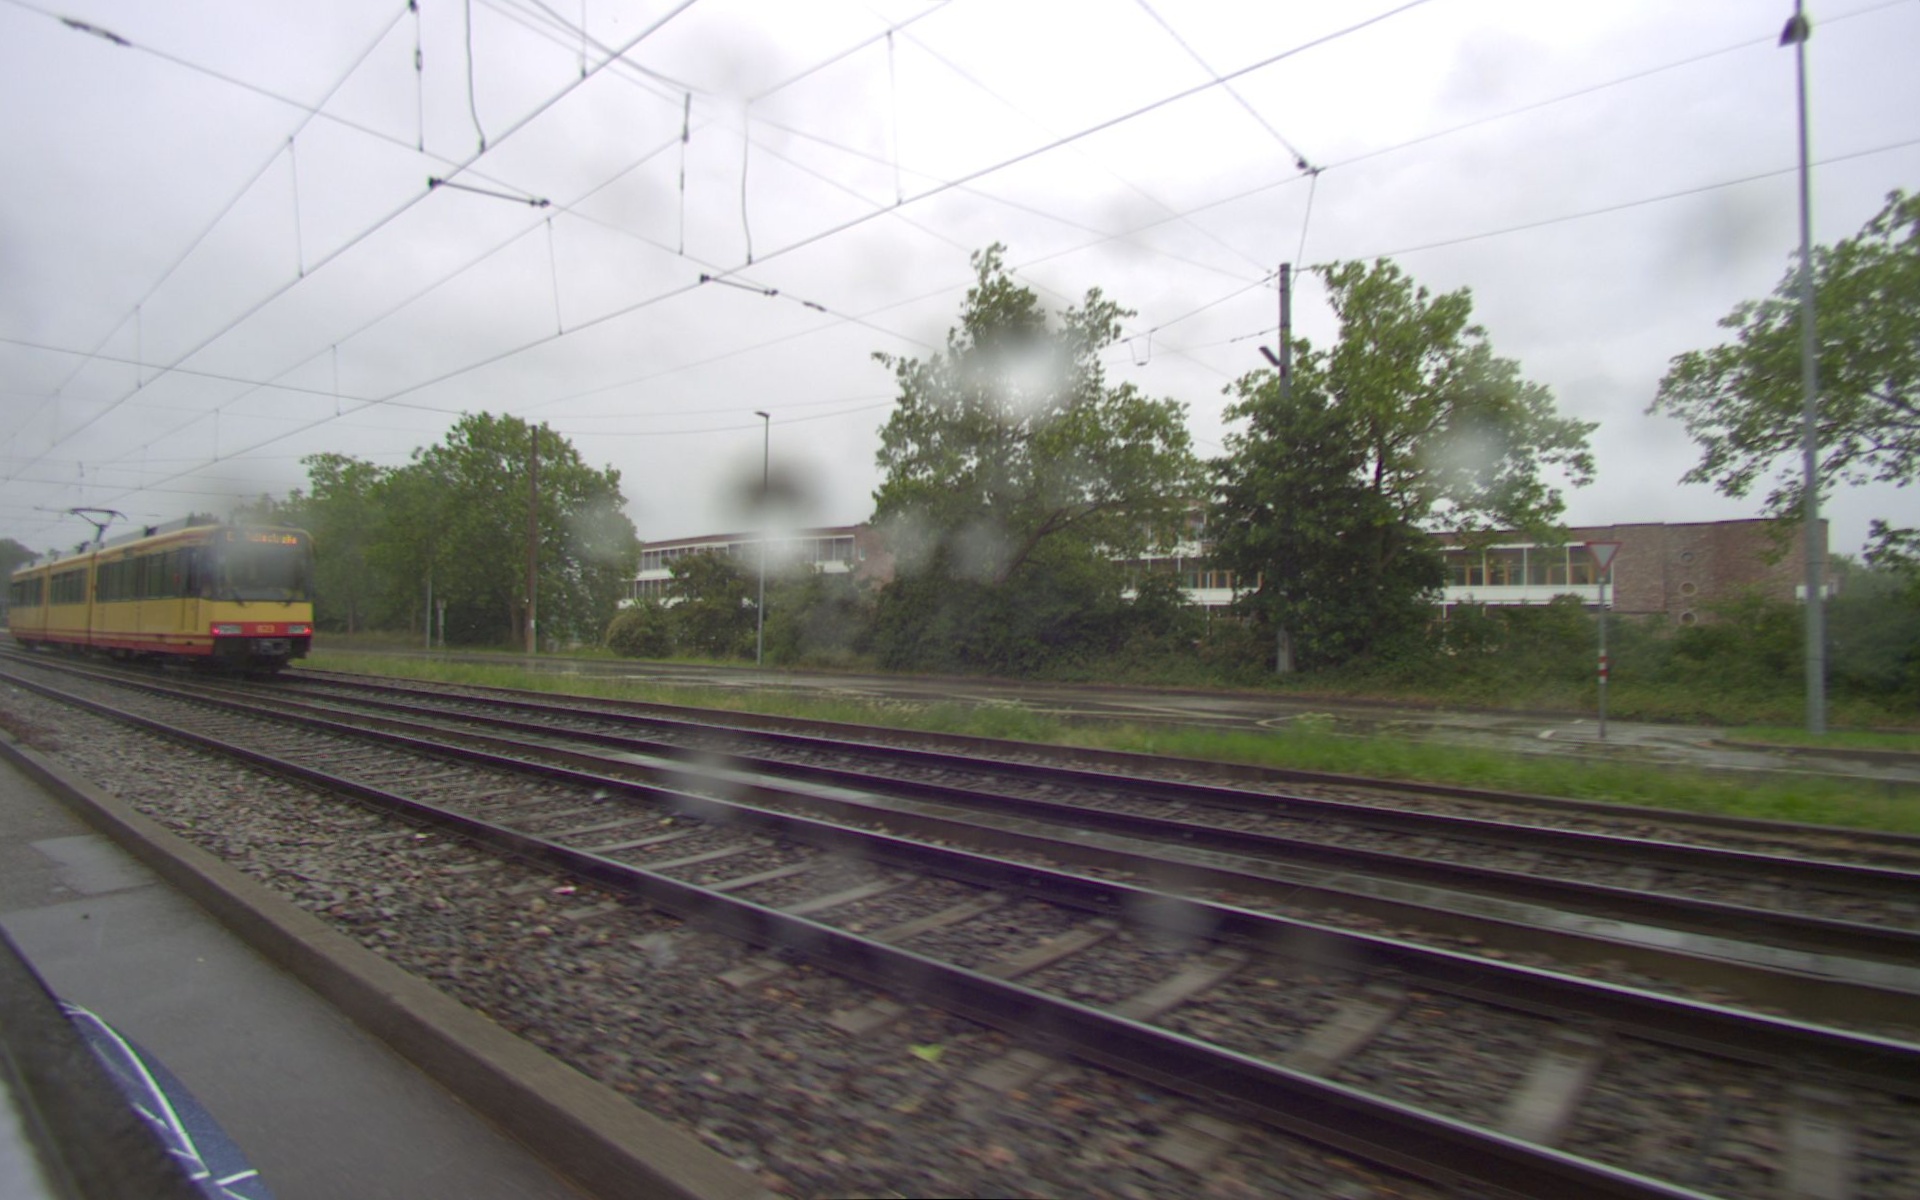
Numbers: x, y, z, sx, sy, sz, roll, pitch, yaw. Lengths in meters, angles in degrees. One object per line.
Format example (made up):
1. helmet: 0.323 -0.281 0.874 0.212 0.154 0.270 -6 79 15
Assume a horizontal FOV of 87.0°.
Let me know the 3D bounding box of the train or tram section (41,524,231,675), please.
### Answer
1. train or tram section: -27.556 0.047 33.485 13.013 4.181 2.777 -1 -1 41

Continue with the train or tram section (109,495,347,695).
1. train or tram section: -18.868 -0.083 25.703 10.266 4.181 2.781 0 -1 42

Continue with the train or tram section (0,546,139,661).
1. train or tram section: -37.291 0.227 42.127 13.014 4.181 2.777 -1 -1 42
